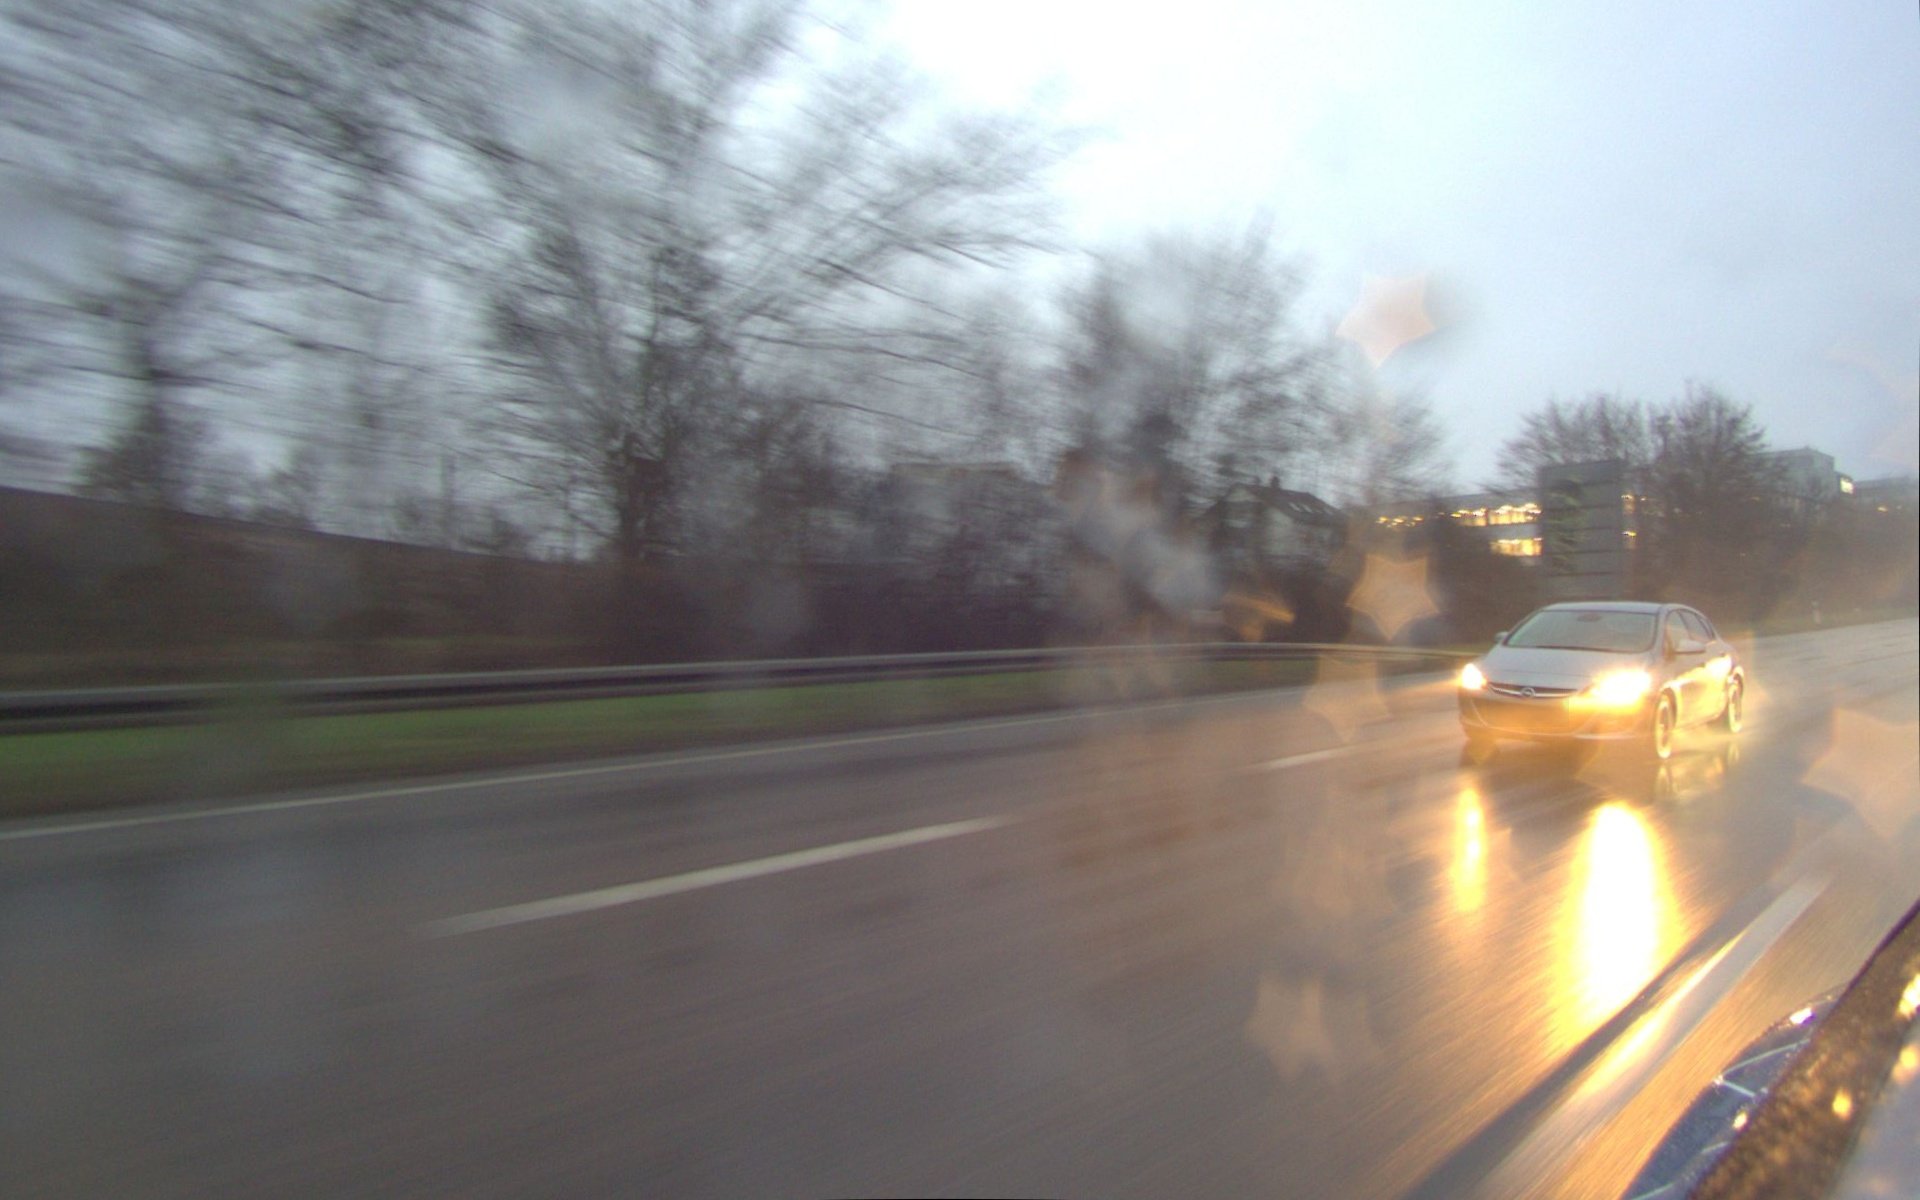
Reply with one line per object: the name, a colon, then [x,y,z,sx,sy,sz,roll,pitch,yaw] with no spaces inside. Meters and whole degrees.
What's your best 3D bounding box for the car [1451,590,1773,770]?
car: [7.175,0.701,10.970,4.189,1.520,1.852,-2,0,-42]
